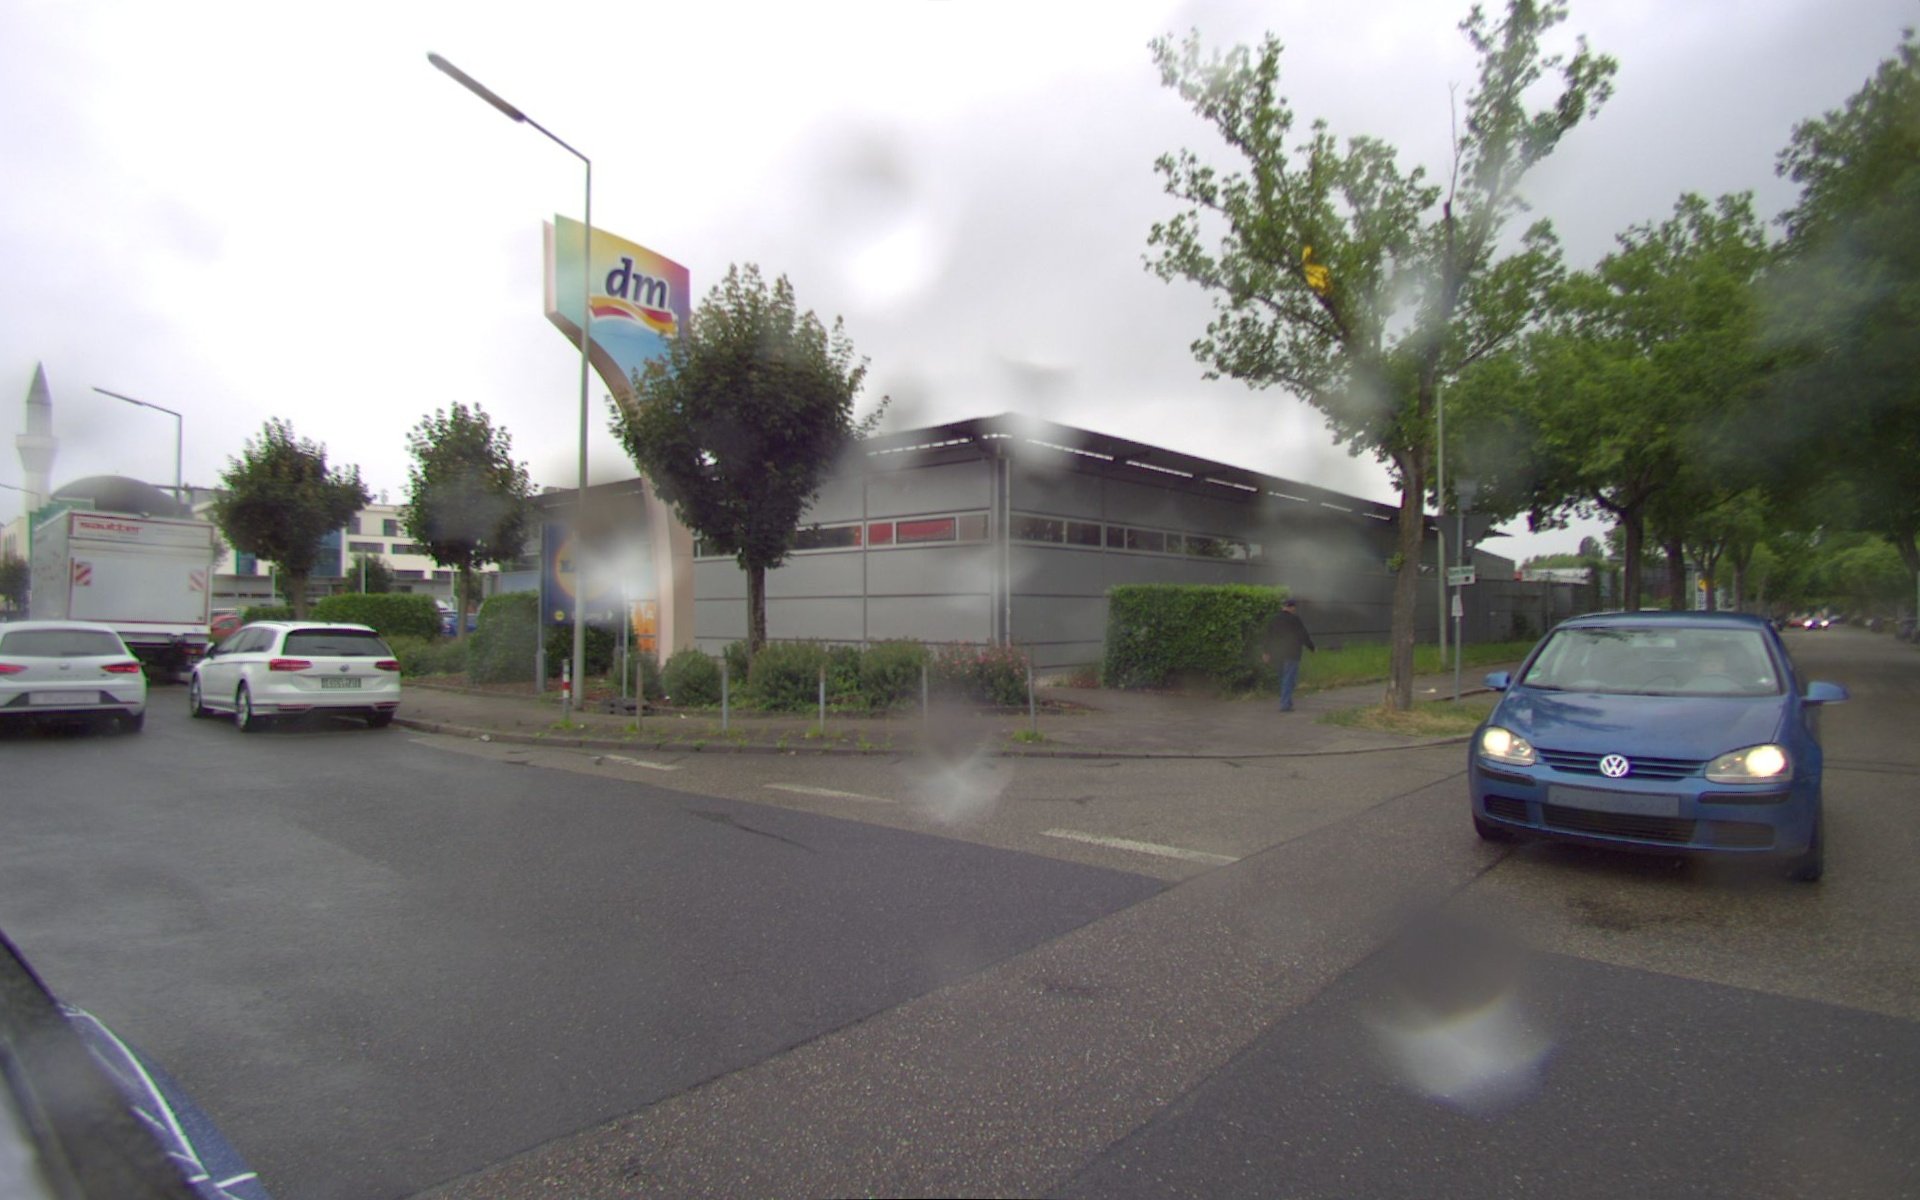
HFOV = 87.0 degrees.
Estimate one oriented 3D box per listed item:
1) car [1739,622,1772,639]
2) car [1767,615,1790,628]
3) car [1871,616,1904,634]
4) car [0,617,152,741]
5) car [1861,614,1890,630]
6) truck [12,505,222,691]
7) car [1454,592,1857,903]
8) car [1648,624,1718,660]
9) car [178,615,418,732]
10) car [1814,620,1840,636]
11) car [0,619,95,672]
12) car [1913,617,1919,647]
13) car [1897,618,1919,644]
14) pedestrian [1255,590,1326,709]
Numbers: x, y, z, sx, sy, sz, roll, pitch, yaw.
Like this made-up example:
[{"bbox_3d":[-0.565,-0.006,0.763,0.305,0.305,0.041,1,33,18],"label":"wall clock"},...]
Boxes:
[{"bbox_3d":[58.880,2.262,74.900,1.571,1.212,3.943,-1,-1,43],"label":"car"},{"bbox_3d":[82.206,2.140,101.627,1.571,1.212,3.943,-1,-1,43],"label":"car"},{"bbox_3d":[84.743,2.250,92.484,1.923,1.584,3.947,-1,-1,39],"label":"car"},{"bbox_3d":[-12.439,0.982,13.650,3.998,1.452,1.712,-1,-2,41],"label":"car"},{"bbox_3d":[92.239,2.211,101.986,1.923,1.584,3.947,-1,-1,39],"label":"car"},{"bbox_3d":[-20.369,0.031,24.267,7.867,3.775,2.850,-1,-2,43],"label":"truck"},{"bbox_3d":[4.835,0.756,6.811,1.735,1.452,3.945,-1,-2,41],"label":"car"},{"bbox_3d":[26.261,1.499,36.701,1.571,1.212,3.943,-1,-1,43],"label":"car"},{"bbox_3d":[-9.702,0.966,14.679,4.491,1.445,1.816,-1,-3,42],"label":"car"},{"bbox_3d":[89.752,2.862,104.825,1.923,1.584,3.947,-1,-1,39],"label":"car"},{"bbox_3d":[-27.042,1.293,29.943,3.511,1.477,1.670,-1,-1,40],"label":"car"},{"bbox_3d":[52.047,1.670,53.616,1.923,1.584,3.947,-1,-1,39],"label":"car"},{"bbox_3d":[61.159,1.944,64.404,1.923,1.584,3.947,-1,-1,39],"label":"car"},{"bbox_3d":[4.884,0.711,14.942,0.758,1.686,0.772,-1,-2,39],"label":"pedestrian"}]
